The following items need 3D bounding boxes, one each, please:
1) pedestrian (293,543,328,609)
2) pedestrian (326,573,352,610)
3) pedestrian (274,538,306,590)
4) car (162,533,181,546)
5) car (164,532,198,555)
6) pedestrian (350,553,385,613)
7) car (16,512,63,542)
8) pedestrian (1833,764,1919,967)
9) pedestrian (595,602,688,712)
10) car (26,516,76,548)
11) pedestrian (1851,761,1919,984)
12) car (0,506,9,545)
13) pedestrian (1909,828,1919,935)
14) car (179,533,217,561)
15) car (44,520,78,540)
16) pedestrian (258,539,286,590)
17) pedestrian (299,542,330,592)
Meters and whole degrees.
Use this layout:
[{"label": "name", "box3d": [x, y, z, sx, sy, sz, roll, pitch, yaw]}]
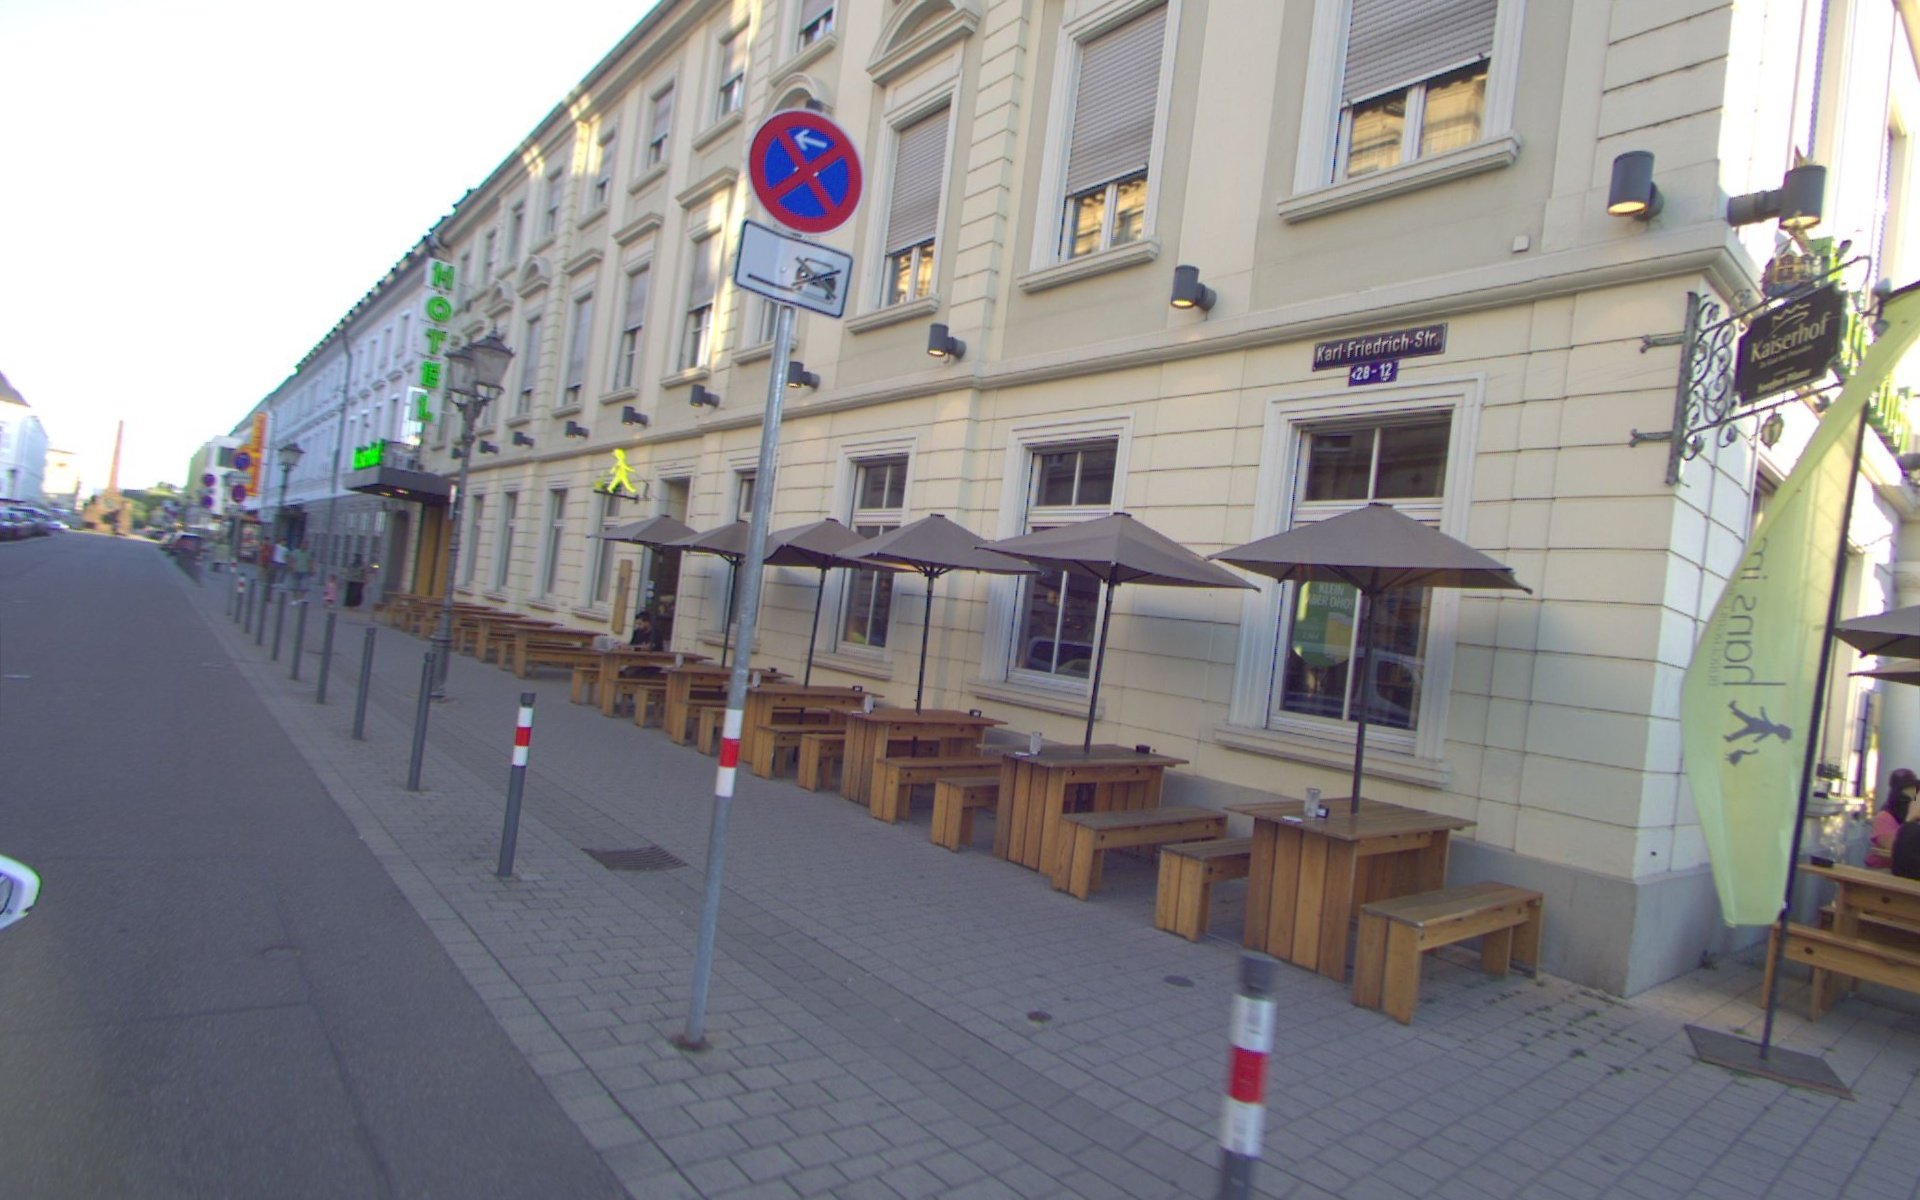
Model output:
[{"label": "pedestrian", "box3d": [-18.087, -0.678, 28.018, 0.604, 1.750, 0.553, 7, -1, -38]}, {"label": "pedestrian", "box3d": [-17.642, -0.246, 28.577, 0.457, 0.991, 0.553, 8, -1, -38]}, {"label": "pedestrian", "box3d": [-24.229, -1.313, 36.382, 0.744, 1.750, 0.872, 8, -1, -36]}, {"label": "car", "box3d": [-108.914, -8.302, 138.972, 1.984, 1.481, 3.959, 8, -2, -38]}, {"label": "car", "box3d": [-58.697, -4.266, 75.791, 1.794, 1.481, 4.073, 9, -2, -39]}, {"label": "pedestrian", "box3d": [-16.944, -0.497, 28.763, 0.627, 1.620, 0.608, 8, -1, -38]}, {"label": "car", "box3d": [-63.821, -5.062, 69.824, 1.985, 1.681, 3.958, 9, -2, -39]}, {"label": "pedestrian", "box3d": [7.076, 1.980, 7.571, 0.524, 1.385, 0.573, 8, -1, -39]}, {"label": "pedestrian", "box3d": [-4.315, 0.773, 13.646, 0.712, 1.375, 0.775, 6, -1, 34]}, {"label": "car", "box3d": [-58.665, -4.366, 65.003, 1.984, 1.749, 4.468, 7, -1, -39]}, {"label": "pedestrian", "box3d": [6.543, 1.841, 6.775, 0.609, 1.392, 0.583, 8, -1, -36]}, {"label": "car", "box3d": [-40.944, -3.204, 41.622, 1.777, 1.634, 4.122, 8, -2, -38]}, {"label": "pedestrian", "box3d": [8.719, 2.210, 8.702, 0.613, 1.466, 0.497, 6, -1, 43]}, {"label": "car", "box3d": [-49.654, -3.461, 65.521, 1.752, 1.540, 3.638, 9, -2, -39]}, {"label": "car", "box3d": [-76.019, -5.903, 85.131, 1.777, 1.425, 4.045, 8, -2, -38]}, {"label": "pedestrian", "box3d": [-25.671, -1.337, 37.537, 0.617, 1.810, 0.904, 7, -1, -38]}, {"label": "pedestrian", "box3d": [-23.731, -1.212, 36.967, 0.710, 1.750, 0.864, 8, -1, -37]}]
